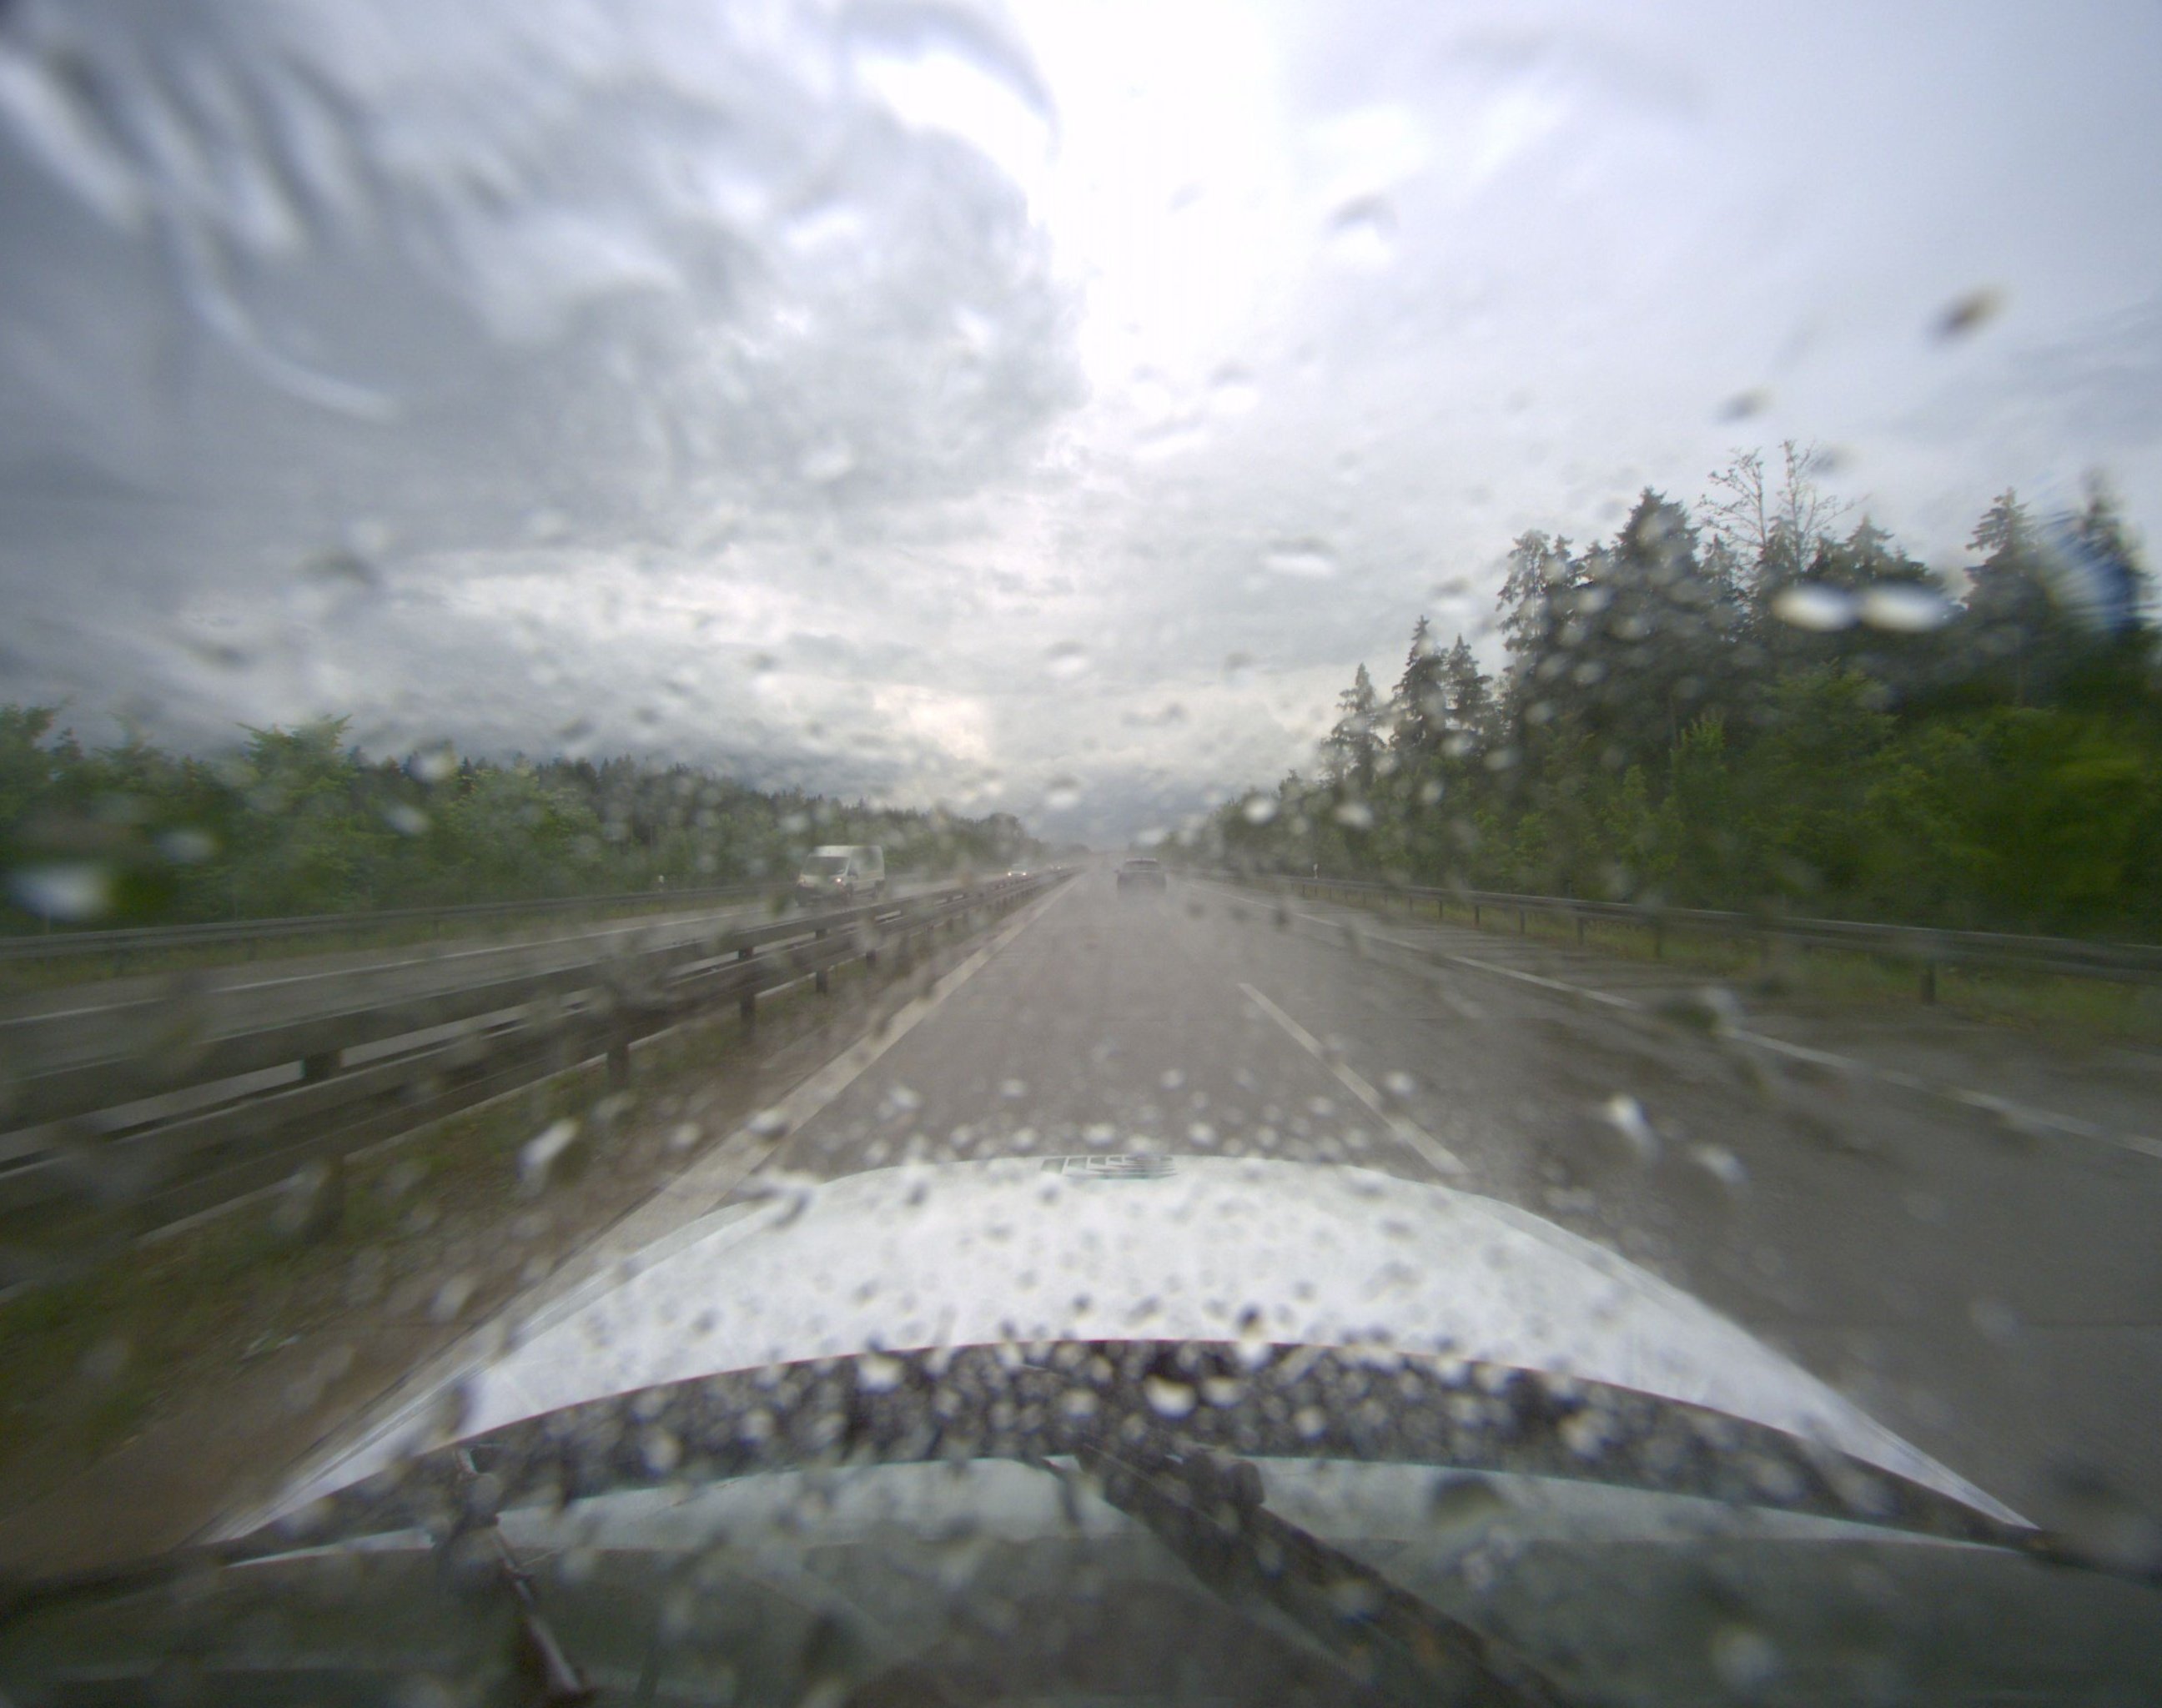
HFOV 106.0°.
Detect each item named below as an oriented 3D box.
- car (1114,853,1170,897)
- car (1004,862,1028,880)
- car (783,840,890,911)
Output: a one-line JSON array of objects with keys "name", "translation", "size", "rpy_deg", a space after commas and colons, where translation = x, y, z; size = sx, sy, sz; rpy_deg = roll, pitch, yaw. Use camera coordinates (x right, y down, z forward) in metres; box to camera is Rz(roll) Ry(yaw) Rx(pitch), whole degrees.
[{"name": "car", "translation": [2.246, 0.804, 30.974], "size": [1.888, 1.576, 3.631], "rpy_deg": [0, -2, 0]}, {"name": "car", "translation": [-5.579, 1.480, 70.543], "size": [1.763, 1.418, 4.603], "rpy_deg": [-2, 0, -2]}, {"name": "car", "translation": [-10.346, 0.862, 35.191], "size": [2.342, 2.749, 6.877], "rpy_deg": [-1, 0, 2]}]
